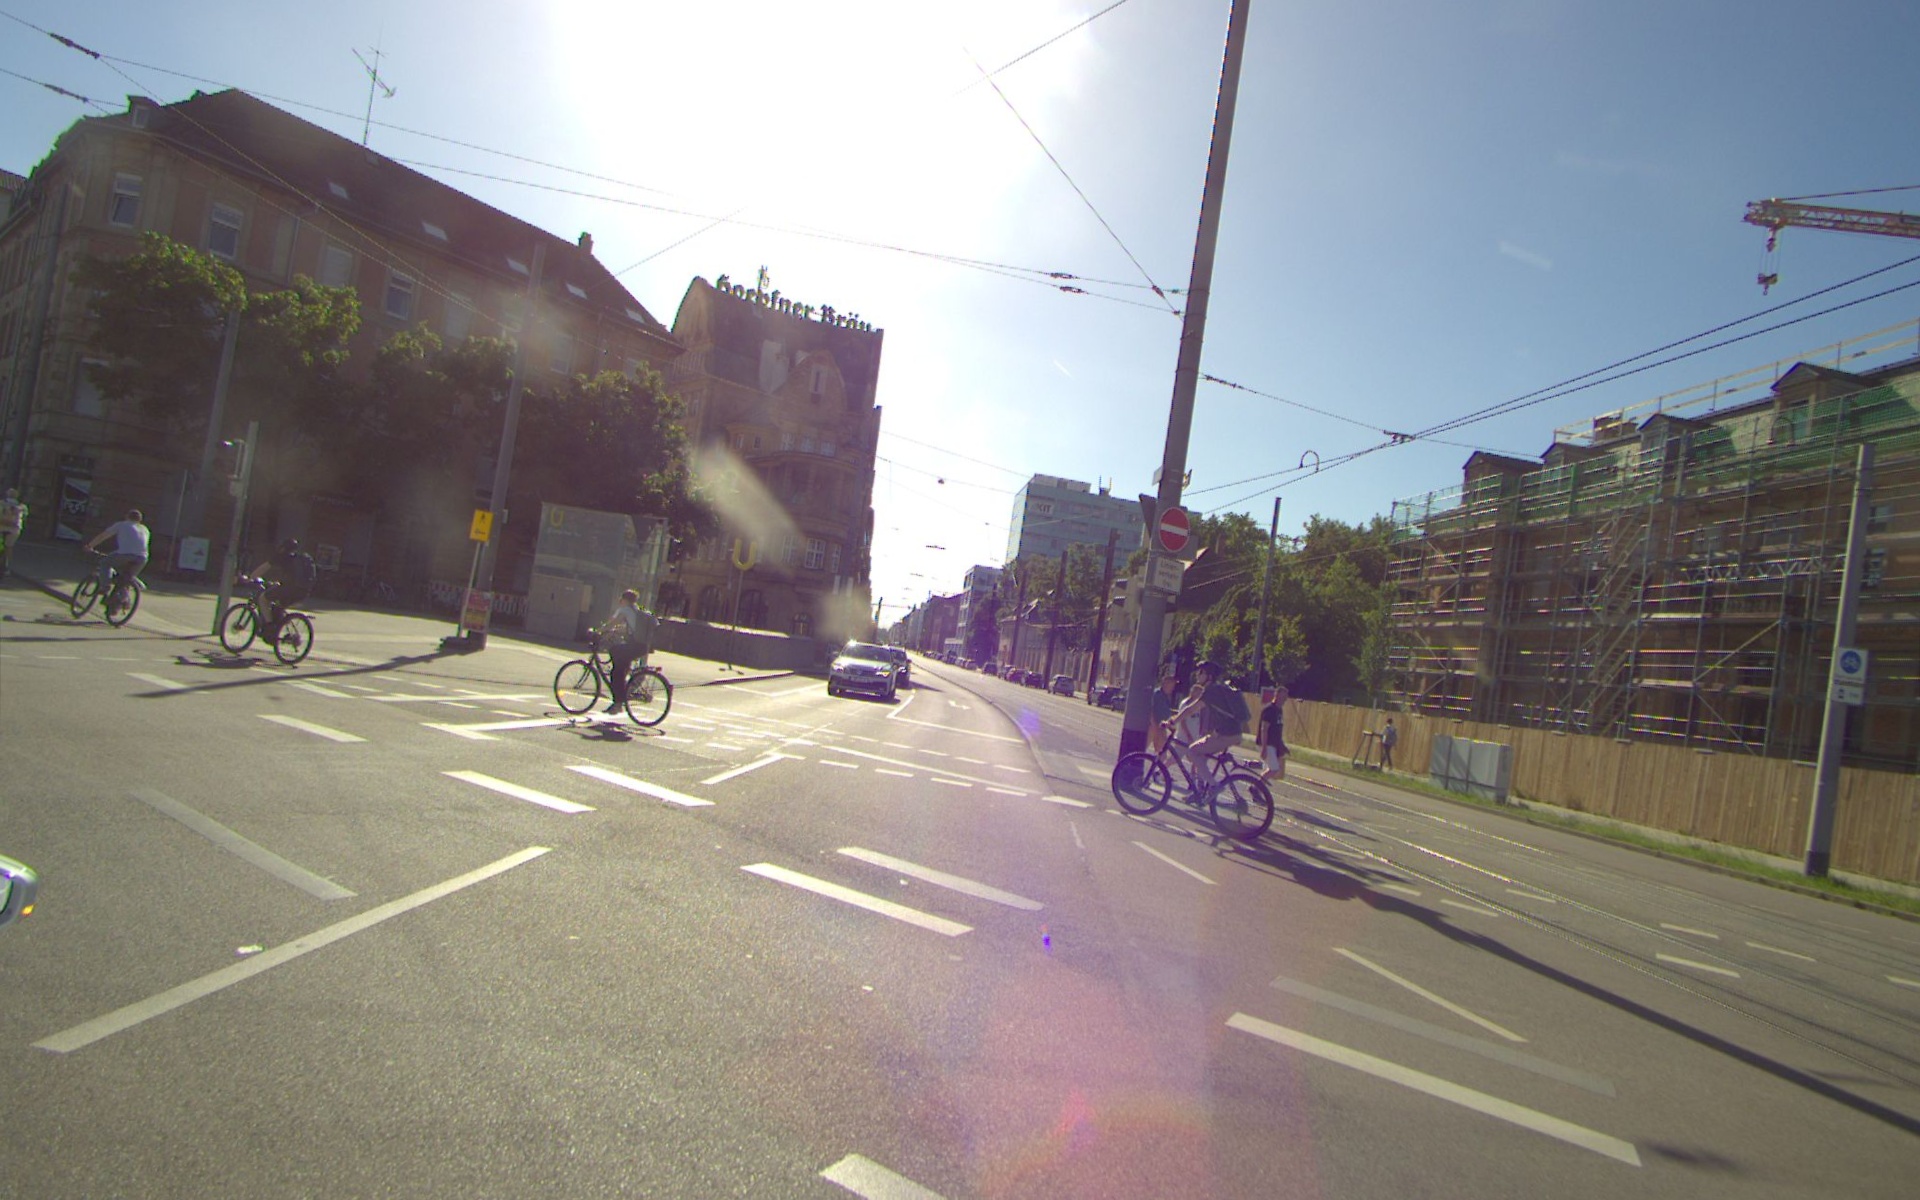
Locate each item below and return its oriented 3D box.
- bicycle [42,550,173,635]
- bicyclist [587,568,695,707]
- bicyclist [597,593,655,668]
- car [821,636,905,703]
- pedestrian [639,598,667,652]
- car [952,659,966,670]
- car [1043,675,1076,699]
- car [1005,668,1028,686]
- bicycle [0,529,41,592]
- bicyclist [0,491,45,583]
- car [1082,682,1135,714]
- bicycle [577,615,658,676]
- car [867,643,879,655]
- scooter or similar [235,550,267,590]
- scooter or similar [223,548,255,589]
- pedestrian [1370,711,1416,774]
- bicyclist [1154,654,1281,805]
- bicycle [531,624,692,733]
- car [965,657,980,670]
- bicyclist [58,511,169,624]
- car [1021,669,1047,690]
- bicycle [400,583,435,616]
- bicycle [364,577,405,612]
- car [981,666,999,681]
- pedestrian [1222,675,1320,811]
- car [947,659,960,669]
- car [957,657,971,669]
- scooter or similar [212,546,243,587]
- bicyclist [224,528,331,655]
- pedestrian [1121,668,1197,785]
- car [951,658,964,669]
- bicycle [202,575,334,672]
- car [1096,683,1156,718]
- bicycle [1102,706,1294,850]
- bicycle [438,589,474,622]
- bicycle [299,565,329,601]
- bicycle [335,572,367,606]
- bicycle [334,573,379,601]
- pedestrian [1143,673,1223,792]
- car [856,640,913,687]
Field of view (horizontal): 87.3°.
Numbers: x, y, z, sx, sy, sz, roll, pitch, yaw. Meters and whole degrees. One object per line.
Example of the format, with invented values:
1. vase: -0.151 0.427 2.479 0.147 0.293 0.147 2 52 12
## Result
1. bicycle: -13.568 -0.120 16.010 1.897 1.081 0.388 8 -1 11
2. bicyclist: -4.113 0.496 13.002 0.935 1.630 0.553 8 -4 17
3. bicyclist: -7.981 0.733 24.030 0.937 1.630 0.600 7 -4 30
4. car: -2.853 2.126 30.621 1.883 1.638 4.258 8 -4 1
5. pedestrian: -11.174 0.906 36.647 0.537 1.867 0.650 9 -3 -3
6. car: -0.146 10.859 170.370 1.884 1.638 3.824 8 -4 -3
7. car: 8.129 7.107 82.315 1.884 1.638 3.824 8 -4 -3
8. car: 6.015 8.189 107.626 1.884 1.638 3.824 8 -4 -3
9. bicycle: -19.118 -0.844 20.052 1.902 1.129 0.533 6 -4 32
10. bicyclist: -19.119 -1.282 20.106 1.101 1.700 0.683 7 -4 29
11. car: 9.666 6.350 65.620 1.969 1.634 3.997 10 -5 -11
12. bicycle: -8.221 1.084 24.134 1.900 1.129 0.533 9 -3 29
13. car: -14.579 8.265 168.665 1.723 1.640 4.014 8 -1 -4
14. scooter or similar: -23.104 -0.988 32.775 1.542 1.208 0.270 6 -5 40
15. scooter or similar: -23.315 -1.029 32.522 1.542 1.197 0.270 6 -5 40
16. pedestrian: 15.517 5.100 36.091 0.850 2.034 1.088 10 -4 -8
17. bicyclist: 2.811 1.405 10.964 1.019 1.436 0.676 7 -4 30
18. bicycle: -4.528 1.013 13.069 1.897 1.130 0.534 7 -2 18
19. car: 1.907 9.767 155.057 1.884 1.638 3.824 8 -4 -3
20. bicyclist: -13.465 -0.508 16.021 0.869 1.610 0.786 8 -2 12
21. car: 7.094 7.640 96.871 1.884 1.638 3.824 8 -4 -3
22. bicycle: -20.258 -0.017 37.566 1.439 1.072 0.404 6 -4 36
23. bicycle: -20.692 -0.197 36.180 1.328 1.072 0.405 7 -4 24
24. car: 3.912 9.577 131.257 1.884 1.638 3.824 8 -4 -3
25. pedestrian: 4.952 2.270 15.996 1.032 1.949 0.933 6 -4 35
26. car: -1.212 11.648 182.860 1.884 1.638 3.824 8 -4 -3
27. car: 0.594 9.980 160.041 1.884 1.638 3.824 8 -4 -3
28. scooter or similar: -23.502 -1.082 32.271 1.542 1.197 0.270 6 -5 40
29. bicyclist: -9.674 -0.121 14.275 0.963 1.630 0.626 7 -4 27
30. pedestrian: 3.302 2.088 16.646 0.811 1.775 0.661 6 -4 36
31. car: -0.492 11.146 175.619 1.884 1.638 3.824 8 -4 -3
32. bicycle: -9.875 0.329 14.342 1.899 1.129 0.533 6 -3 25
33. car: 9.795 5.938 59.661 1.969 1.589 3.997 10 -5 -11
34. bicycle: 2.588 1.914 11.036 1.834 1.171 0.533 8 -2 31
35. bicycle: -19.151 0.210 38.217 1.438 1.072 0.404 7 -4 33
36. bicycle: -22.069 -0.586 34.379 1.464 1.072 0.403 5 -5 45
37. bicycle: -21.399 -0.386 35.350 1.333 1.072 0.403 6 -5 40
38. bicycle: -24.632 -0.523 41.067 1.417 0.865 0.399 14 -6 -44
39. pedestrian: 3.472 2.057 15.631 0.811 1.694 0.661 6 -4 36
40. car: -3.209 2.772 43.625 1.883 1.704 4.258 8 -4 1
